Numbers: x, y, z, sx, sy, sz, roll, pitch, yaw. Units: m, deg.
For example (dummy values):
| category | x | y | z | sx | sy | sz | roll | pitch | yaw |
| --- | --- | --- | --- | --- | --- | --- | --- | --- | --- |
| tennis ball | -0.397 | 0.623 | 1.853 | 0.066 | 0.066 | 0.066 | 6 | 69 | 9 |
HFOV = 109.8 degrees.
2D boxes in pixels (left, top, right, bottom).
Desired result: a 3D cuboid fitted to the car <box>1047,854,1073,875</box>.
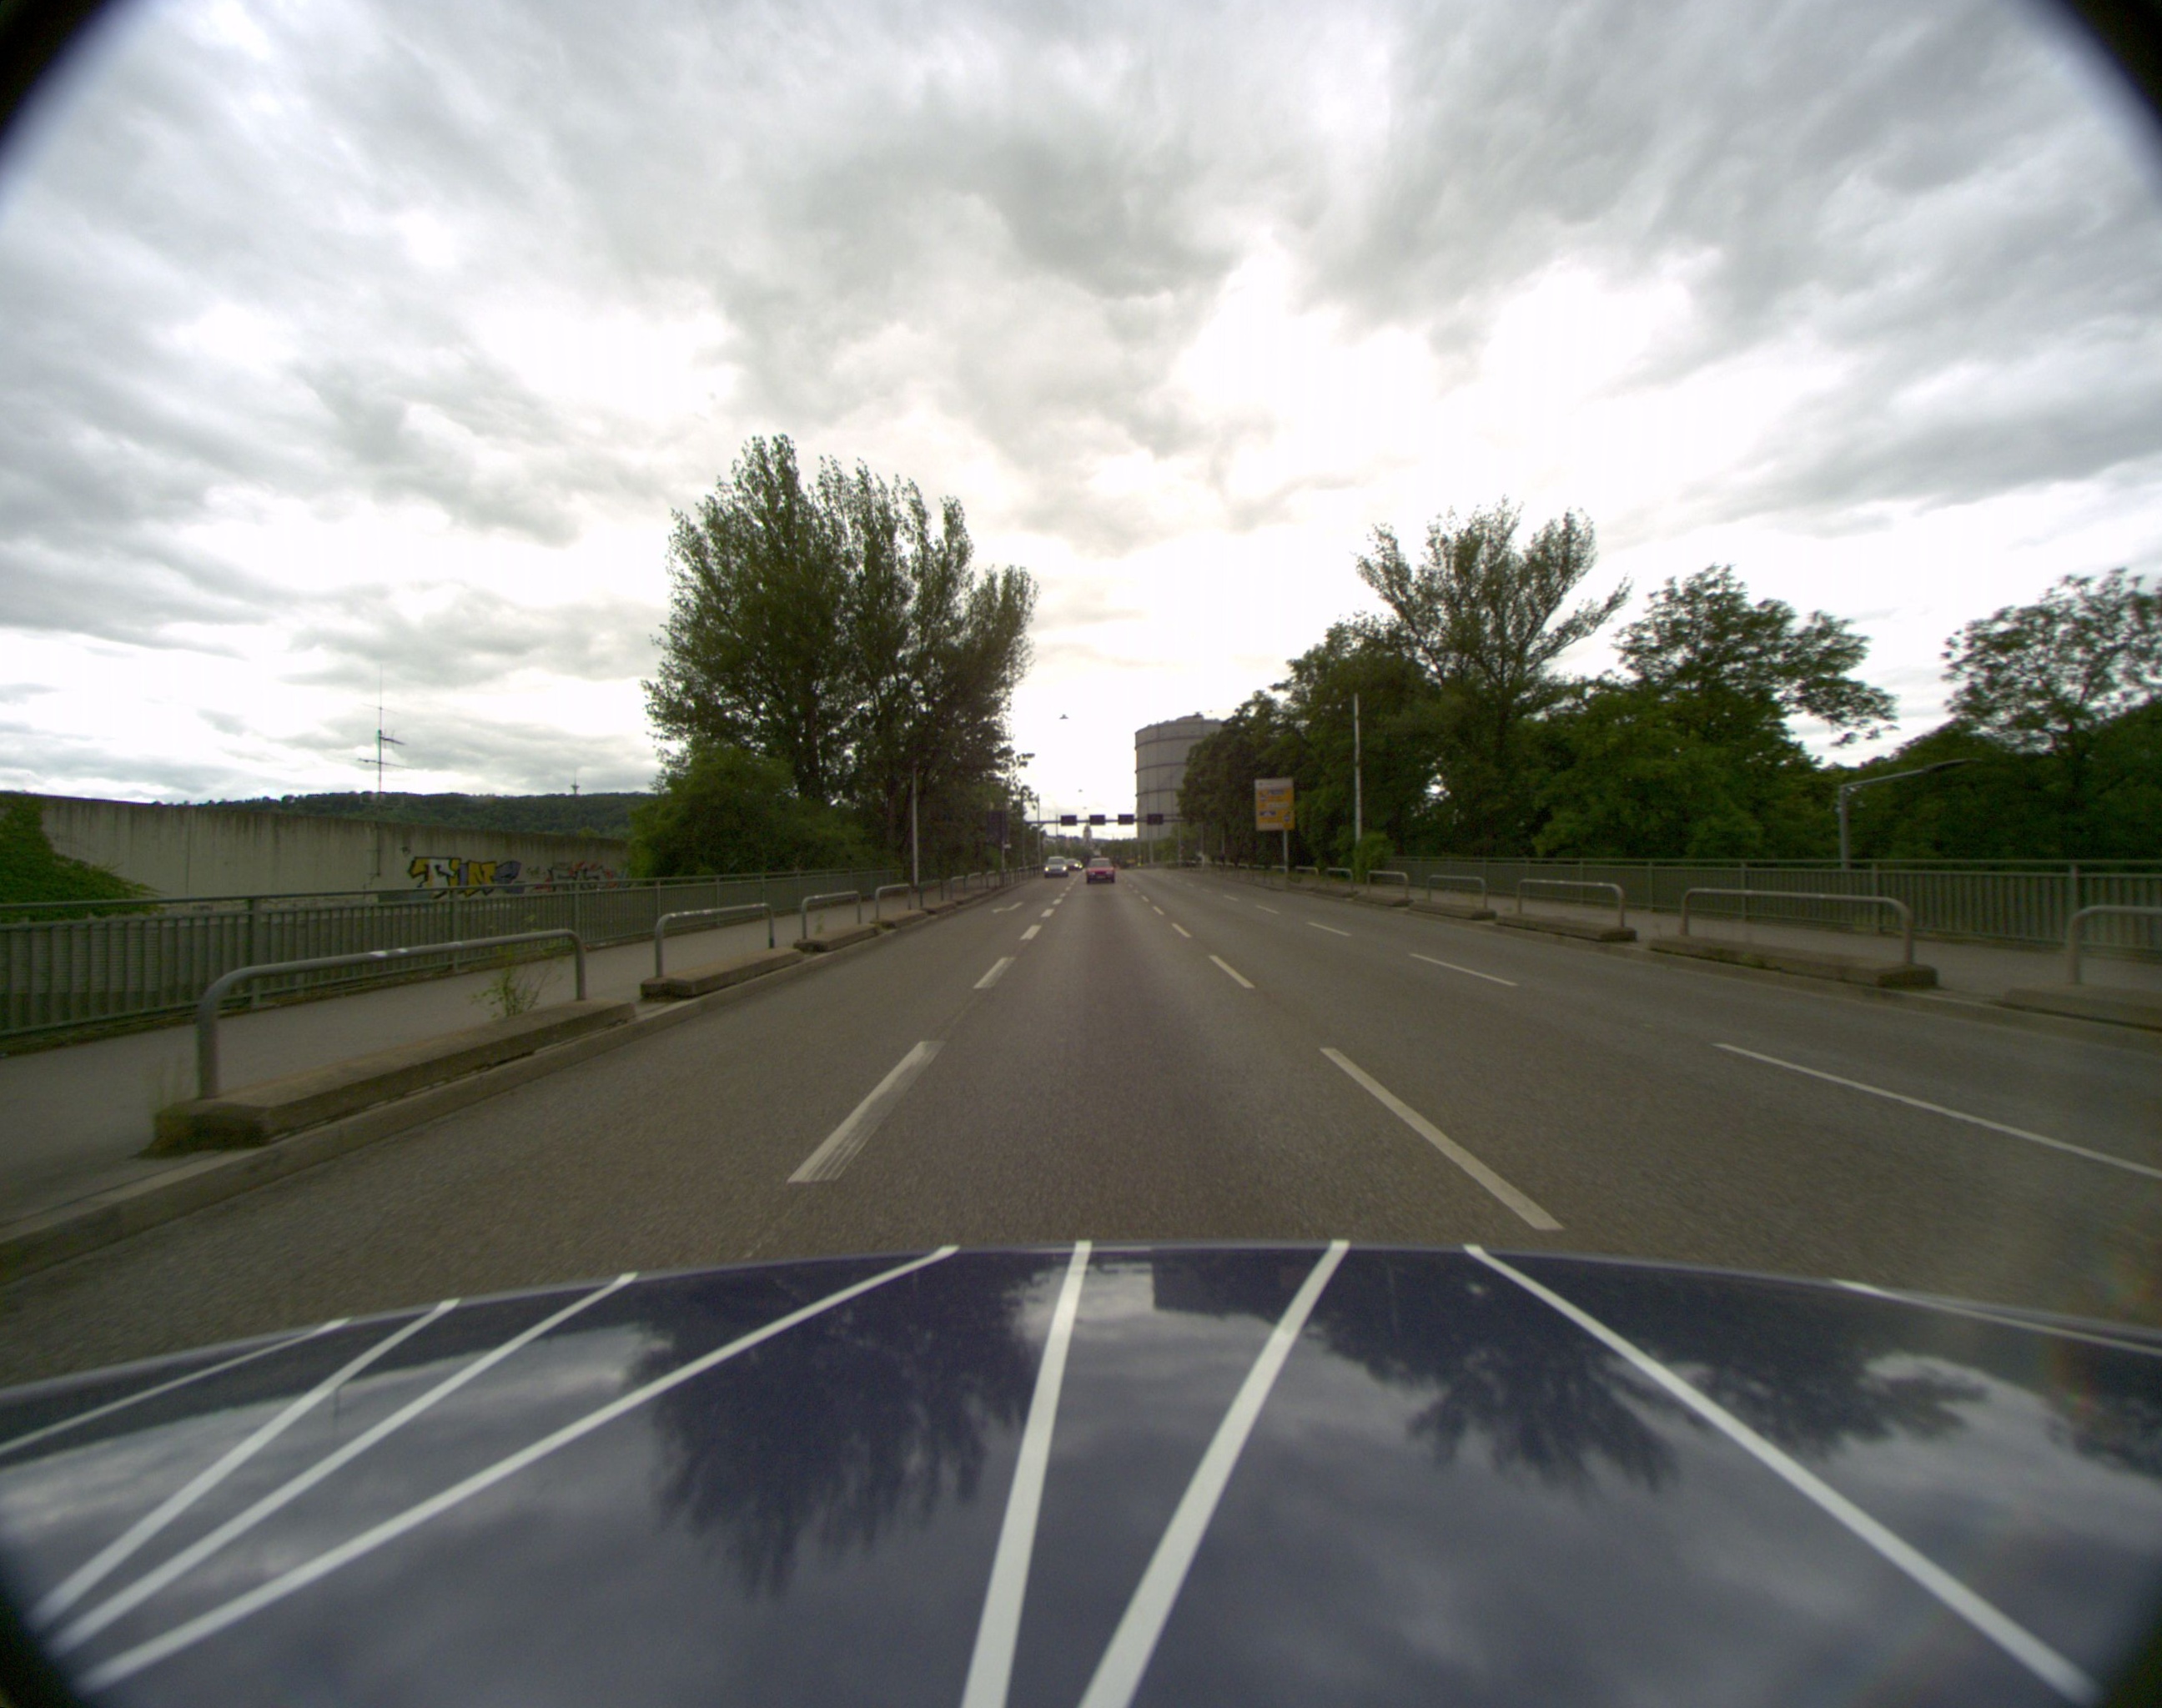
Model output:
| category | x | y | z | sx | sy | sz | roll | pitch | yaw |
| --- | --- | --- | --- | --- | --- | --- | --- | --- | --- |
| car | -1.575 | 0.777 | 59.184 | 1.771 | 1.565 | 4.000 | 0 | 0 | 2 |

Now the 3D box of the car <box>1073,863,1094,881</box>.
| category | x | y | z | sx | sy | sz | roll | pitch | yaw |
| --- | --- | --- | --- | --- | --- | --- | --- | --- | --- |
| car | 0.201 | 1.580 | 66.851 | 1.785 | 1.507 | 4.000 | -1 | -1 | 0 |

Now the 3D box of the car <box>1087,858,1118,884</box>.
| category | x | y | z | sx | sy | sz | roll | pitch | yaw |
| --- | --- | --- | --- | --- | --- | --- | --- | --- | --- |
| car | 1.221 | 0.975 | 44.246 | 1.696 | 1.434 | 4.001 | 1 | -1 | 1 |

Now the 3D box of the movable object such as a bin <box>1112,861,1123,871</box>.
| category | x | y | z | sx | sy | sz | roll | pitch | yaw |
| --- | --- | --- | --- | --- | --- | --- | --- | --- | --- |
| movable object such as a bin | 12.085 | 3.963 | 251.651 | 3.463 | 3.303 | 9.360 | 1 | -1 | 2 |

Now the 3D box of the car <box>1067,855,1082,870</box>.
| category | x | y | z | sx | sy | sz | roll | pitch | yaw |
| --- | --- | --- | --- | --- | --- | --- | --- | --- | --- |
| car | -0.767 | 0.985 | 92.818 | 1.776 | 1.696 | 4.000 | -2 | 0 | 0 |

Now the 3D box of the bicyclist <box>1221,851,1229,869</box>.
| category | x | y | z | sx | sy | sz | roll | pitch | yaw |
| --- | --- | --- | --- | --- | --- | --- | --- | --- | --- |
| bicyclist | 12.130 | 0.481 | 64.088 | 0.516 | 1.508 | 0.984 | 0 | 1 | 0 |

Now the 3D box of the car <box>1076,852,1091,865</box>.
| category | x | y | z | sx | sy | sz | roll | pitch | yaw |
| --- | --- | --- | --- | --- | --- | --- | --- | --- | --- |
| car | 0.323 | 0.629 | 110.433 | 1.998 | 1.775 | 4.001 | -1 | -1 | 3 |

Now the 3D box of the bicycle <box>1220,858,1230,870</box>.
| category | x | y | z | sx | sy | sz | roll | pitch | yaw |
| --- | --- | --- | --- | --- | --- | --- | --- | --- | --- |
| bicycle | 12.124 | 0.814 | 63.935 | 0.486 | 0.996 | 2.002 | 0 | 0 | 0 |
